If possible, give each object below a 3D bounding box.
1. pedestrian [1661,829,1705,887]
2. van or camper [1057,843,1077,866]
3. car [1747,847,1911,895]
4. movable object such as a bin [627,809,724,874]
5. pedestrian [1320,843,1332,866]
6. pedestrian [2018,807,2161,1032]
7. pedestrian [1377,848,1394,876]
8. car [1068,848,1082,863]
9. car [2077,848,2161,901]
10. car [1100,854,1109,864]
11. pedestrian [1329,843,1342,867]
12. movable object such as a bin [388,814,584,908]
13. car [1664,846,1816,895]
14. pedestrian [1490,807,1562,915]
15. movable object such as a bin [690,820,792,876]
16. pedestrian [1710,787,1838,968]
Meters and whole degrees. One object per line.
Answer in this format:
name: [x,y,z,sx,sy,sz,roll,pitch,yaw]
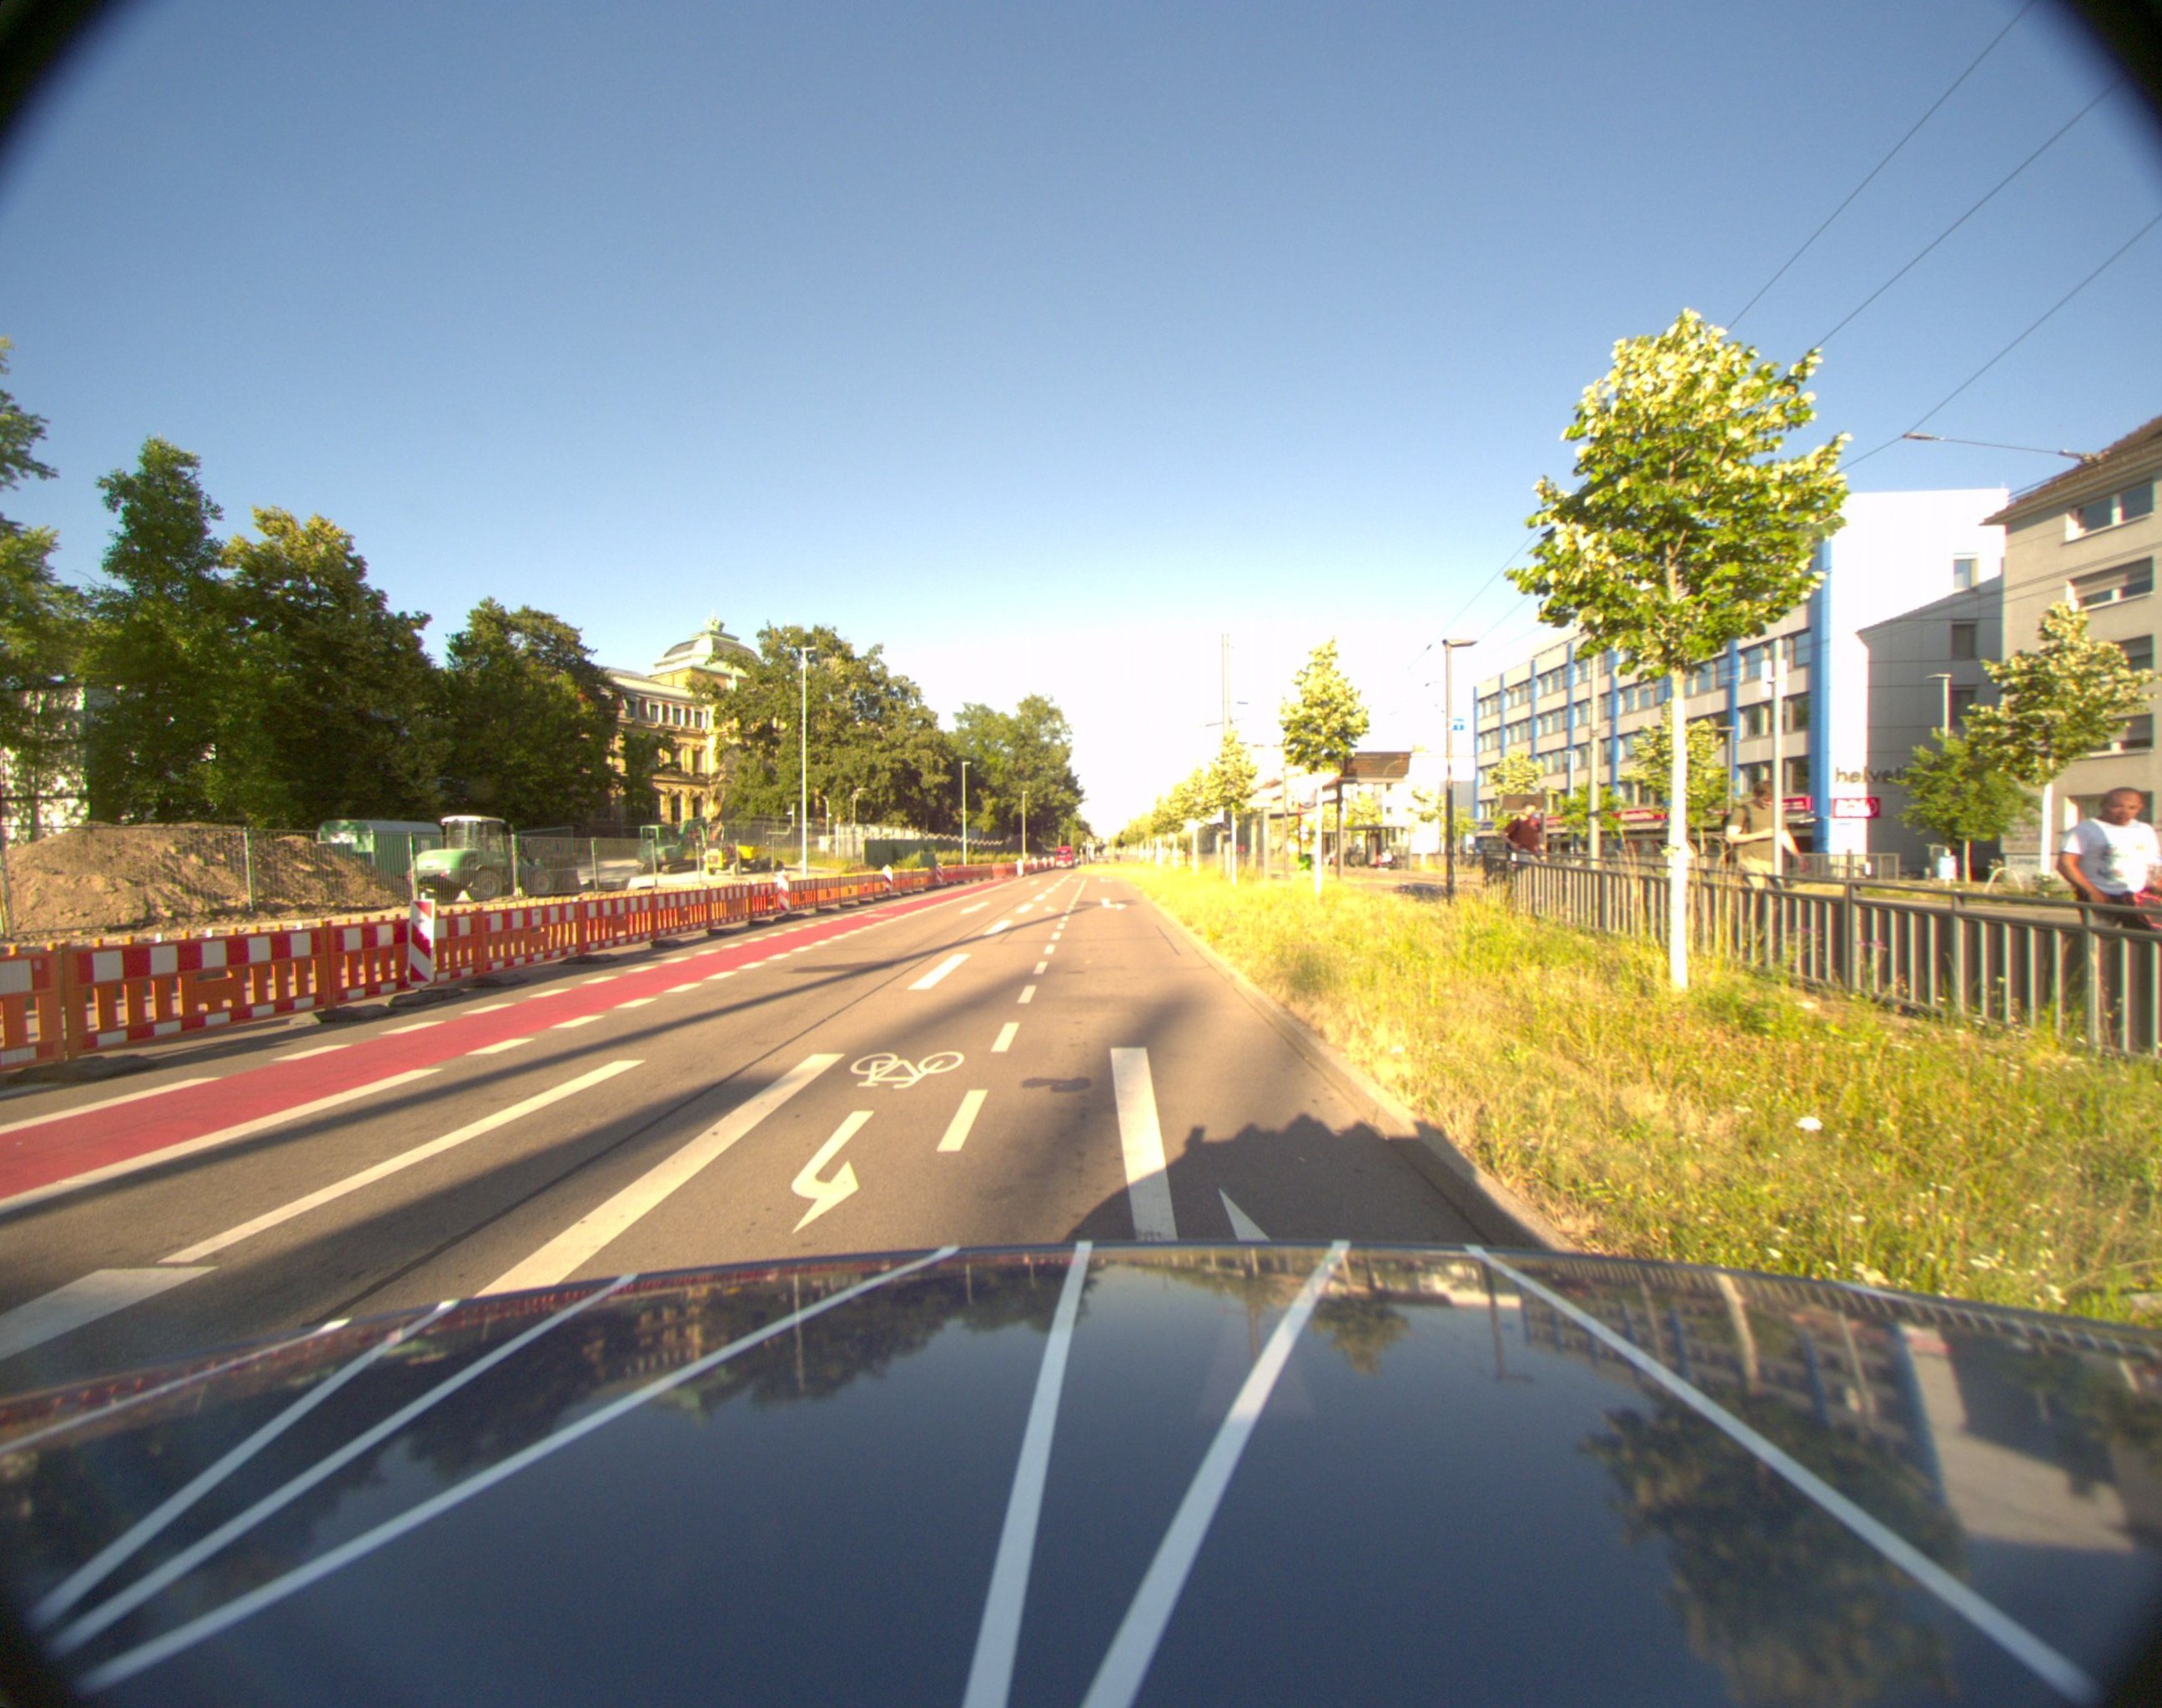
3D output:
pedestrian: [17.922,0.122,22.627,0.787,1.663,0.619,-2,1,4]
van or camper: [-1.571,-0.004,86.933,1.998,2.514,5.913,-2,1,1]
car: [26.034,0.533,26.674,1.886,1.499,3.942,-2,1,1]
movable object such as a bin: [-22.421,-0.689,42.314,1.998,3.310,5.376,-2,1,5]
pedestrian: [18.670,0.043,57.853,0.659,1.682,0.772,-2,1,4]
pedestrian: [7.567,0.439,5.493,0.787,1.540,0.619,-2,1,4]
pedestrian: [18.268,0.468,45.613,0.660,1.682,0.772,-2,1,-1]
car: [-0.846,0.193,111.423,1.998,2.002,3.999,-2,1,1]
car: [33.167,0.619,22.749,1.886,1.499,3.674,-2,1,1]
car: [5.218,1.153,169.978,1.998,2.002,3.999,-2,1,1]
pedestrian: [18.612,0.071,55.548,0.659,1.682,0.772,-2,1,7]
movable object such as a bin: [-19.039,0.169,24.726,1.998,2.668,5.015,-2,1,5]
car: [22.824,0.514,26.540,1.886,1.499,3.942,-2,1,1]
pedestrian: [7.275,0.109,12.455,0.787,1.689,0.619,-2,1,4]
movable object such as a bin: [-18.641,-0.353,42.079,1.997,2.800,5.871,-2,1,11]
pedestrian: [7.443,0.241,8.189,0.787,1.853,0.619,-2,1,4]
